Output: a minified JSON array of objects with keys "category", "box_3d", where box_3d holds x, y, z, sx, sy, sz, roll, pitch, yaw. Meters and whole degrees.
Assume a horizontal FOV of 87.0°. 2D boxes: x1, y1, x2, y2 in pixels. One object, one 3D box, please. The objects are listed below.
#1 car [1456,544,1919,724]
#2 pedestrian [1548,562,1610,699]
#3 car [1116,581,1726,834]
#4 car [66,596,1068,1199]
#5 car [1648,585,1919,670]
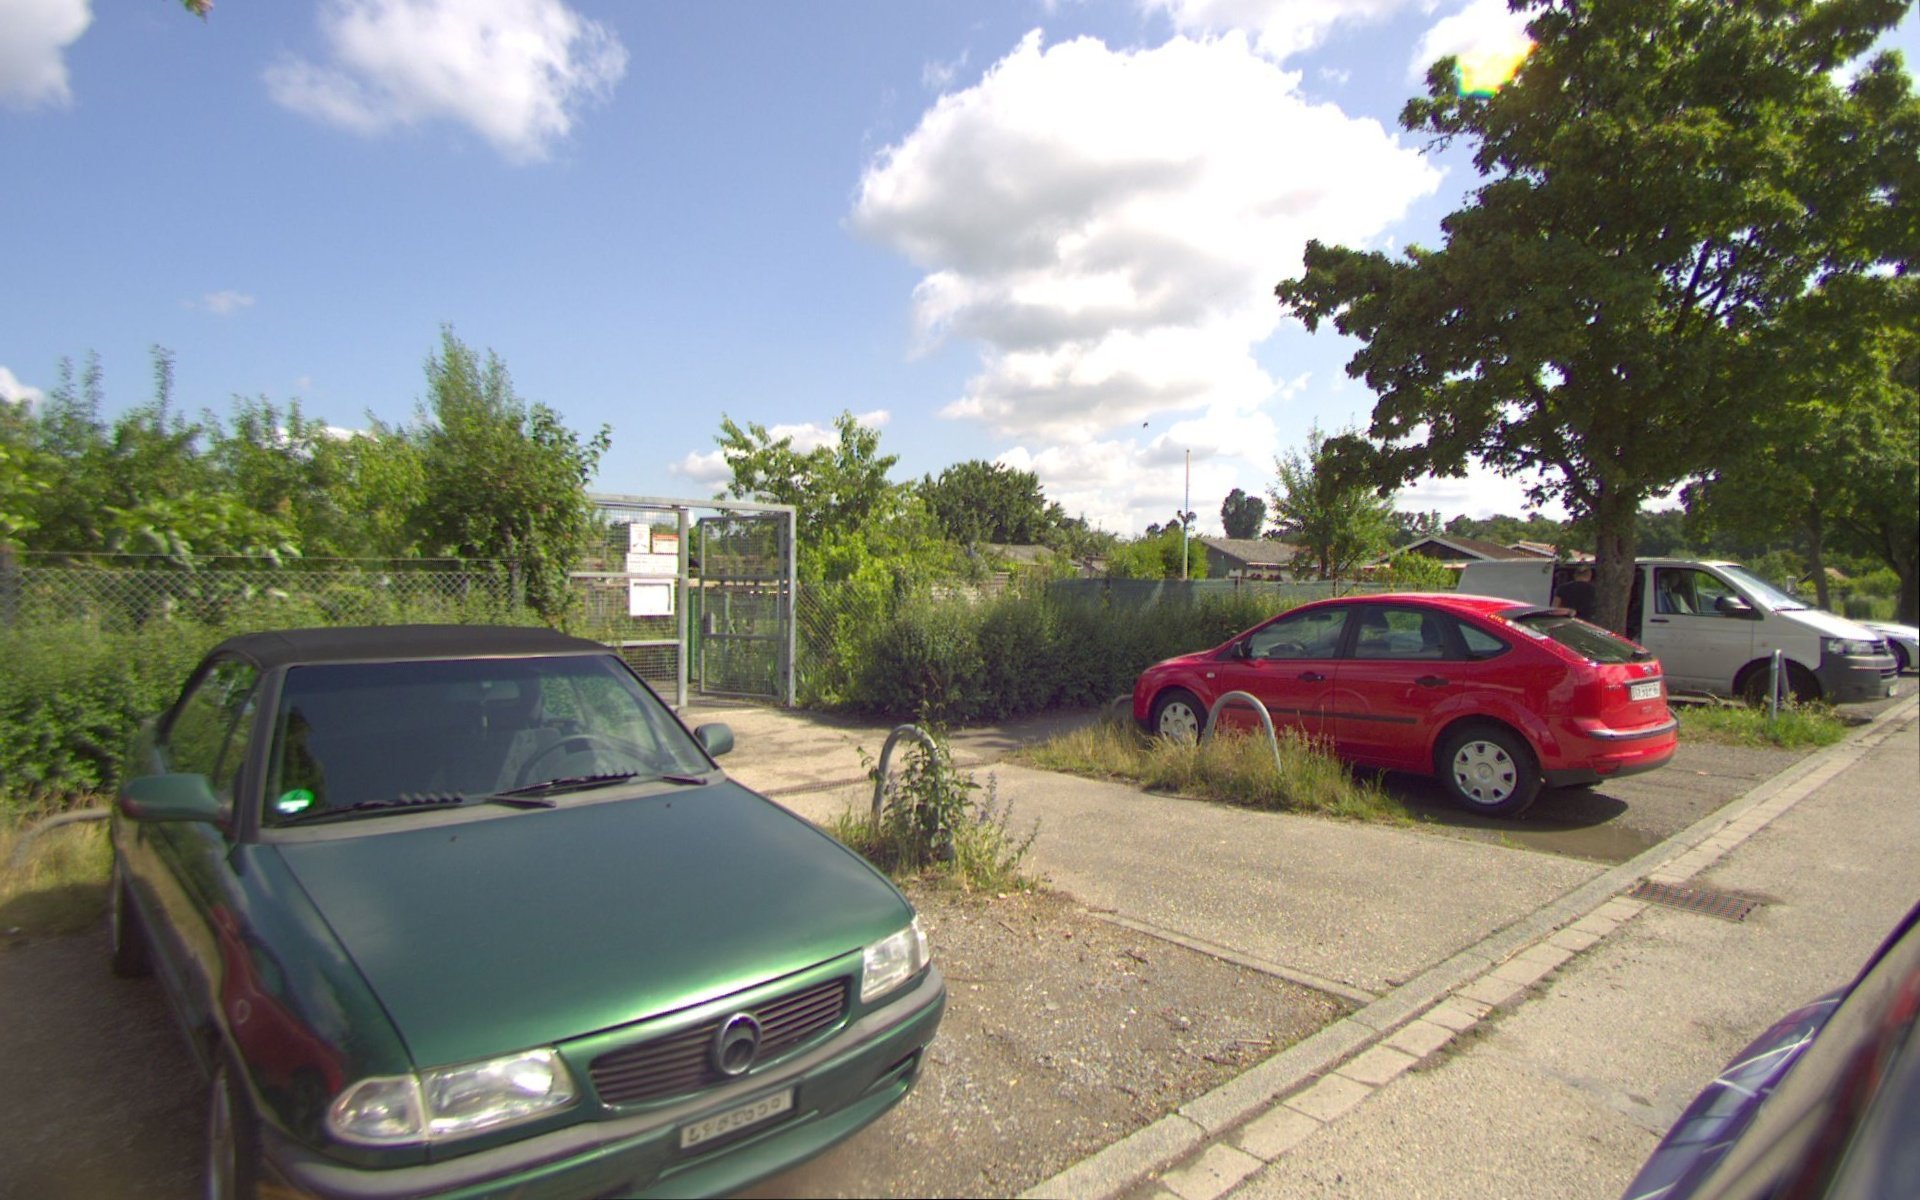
[{"category":"car","box_3d":[9.269,0.273,13.119,2.075,1.910,4.642,0,2,-42]},{"category":"pedestrian","box_3d":[7.895,0.363,12.904,0.465,1.694,0.524,-2,3,-40]},{"category":"car","box_3d":[3.478,0.651,8.331,1.844,1.523,4.192,-1,0,-39]},{"category":"car","box_3d":[-1.846,0.741,3.637,1.877,1.446,4.241,-1,0,-44]},{"category":"car","box_3d":[16.273,0.450,19.598,1.967,1.484,4.582,0,1,-43]}]
